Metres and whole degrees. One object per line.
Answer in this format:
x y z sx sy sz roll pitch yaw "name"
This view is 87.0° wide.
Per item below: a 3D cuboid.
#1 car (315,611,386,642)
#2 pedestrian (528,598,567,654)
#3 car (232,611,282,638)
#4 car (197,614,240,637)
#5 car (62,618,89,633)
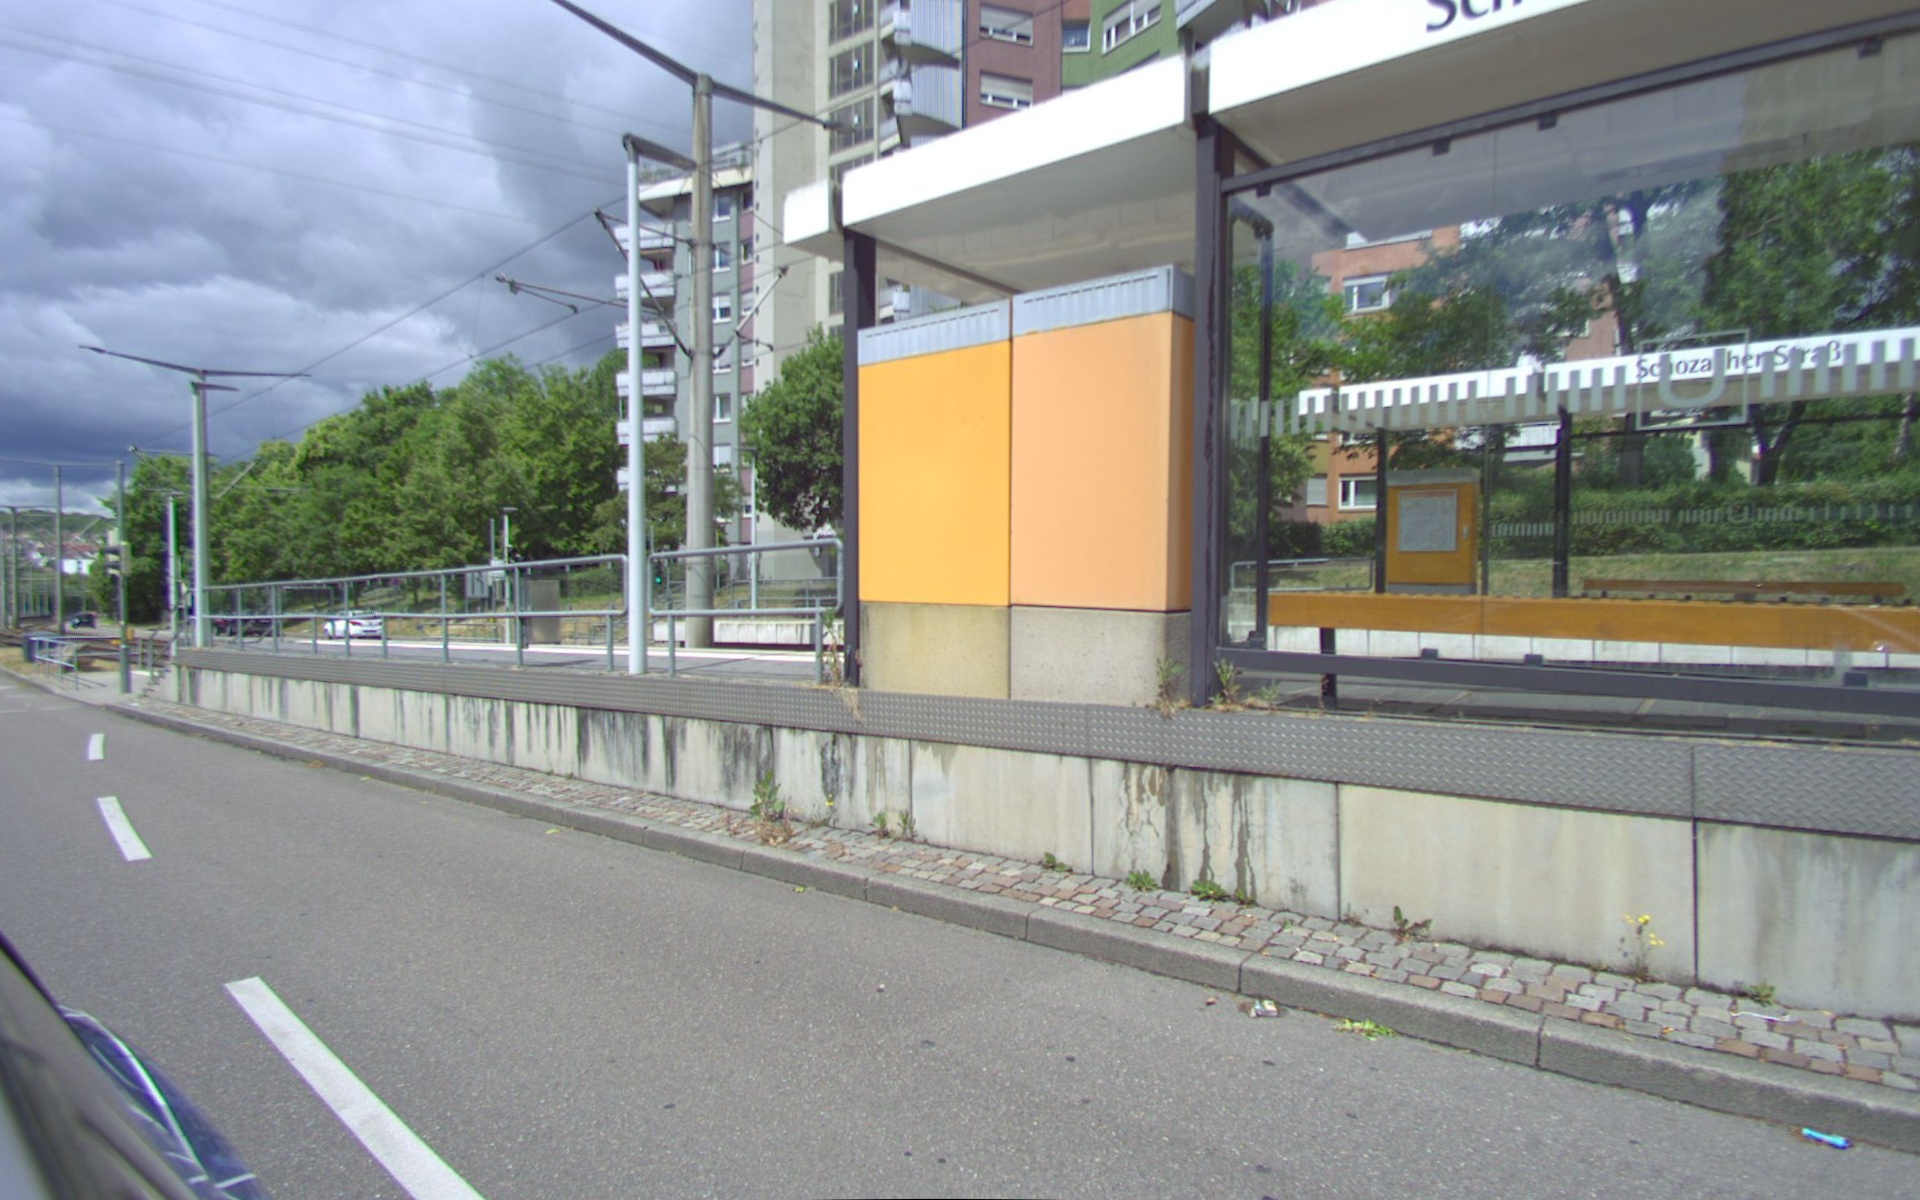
-29.523 1.287 48.964 3.995 1.429 1.638 -1 -1 39 "car"
-11.746 0.734 28.820 0.823 1.575 0.682 -2 0 40 "pedestrian"
-41.806 1.449 60.131 3.736 1.524 1.637 -1 -1 42 "car"
-48.071 1.649 65.600 3.469 1.451 1.584 -1 0 42 "car"
-89.182 2.561 101.985 3.736 1.524 1.637 -1 -1 42 "car"
